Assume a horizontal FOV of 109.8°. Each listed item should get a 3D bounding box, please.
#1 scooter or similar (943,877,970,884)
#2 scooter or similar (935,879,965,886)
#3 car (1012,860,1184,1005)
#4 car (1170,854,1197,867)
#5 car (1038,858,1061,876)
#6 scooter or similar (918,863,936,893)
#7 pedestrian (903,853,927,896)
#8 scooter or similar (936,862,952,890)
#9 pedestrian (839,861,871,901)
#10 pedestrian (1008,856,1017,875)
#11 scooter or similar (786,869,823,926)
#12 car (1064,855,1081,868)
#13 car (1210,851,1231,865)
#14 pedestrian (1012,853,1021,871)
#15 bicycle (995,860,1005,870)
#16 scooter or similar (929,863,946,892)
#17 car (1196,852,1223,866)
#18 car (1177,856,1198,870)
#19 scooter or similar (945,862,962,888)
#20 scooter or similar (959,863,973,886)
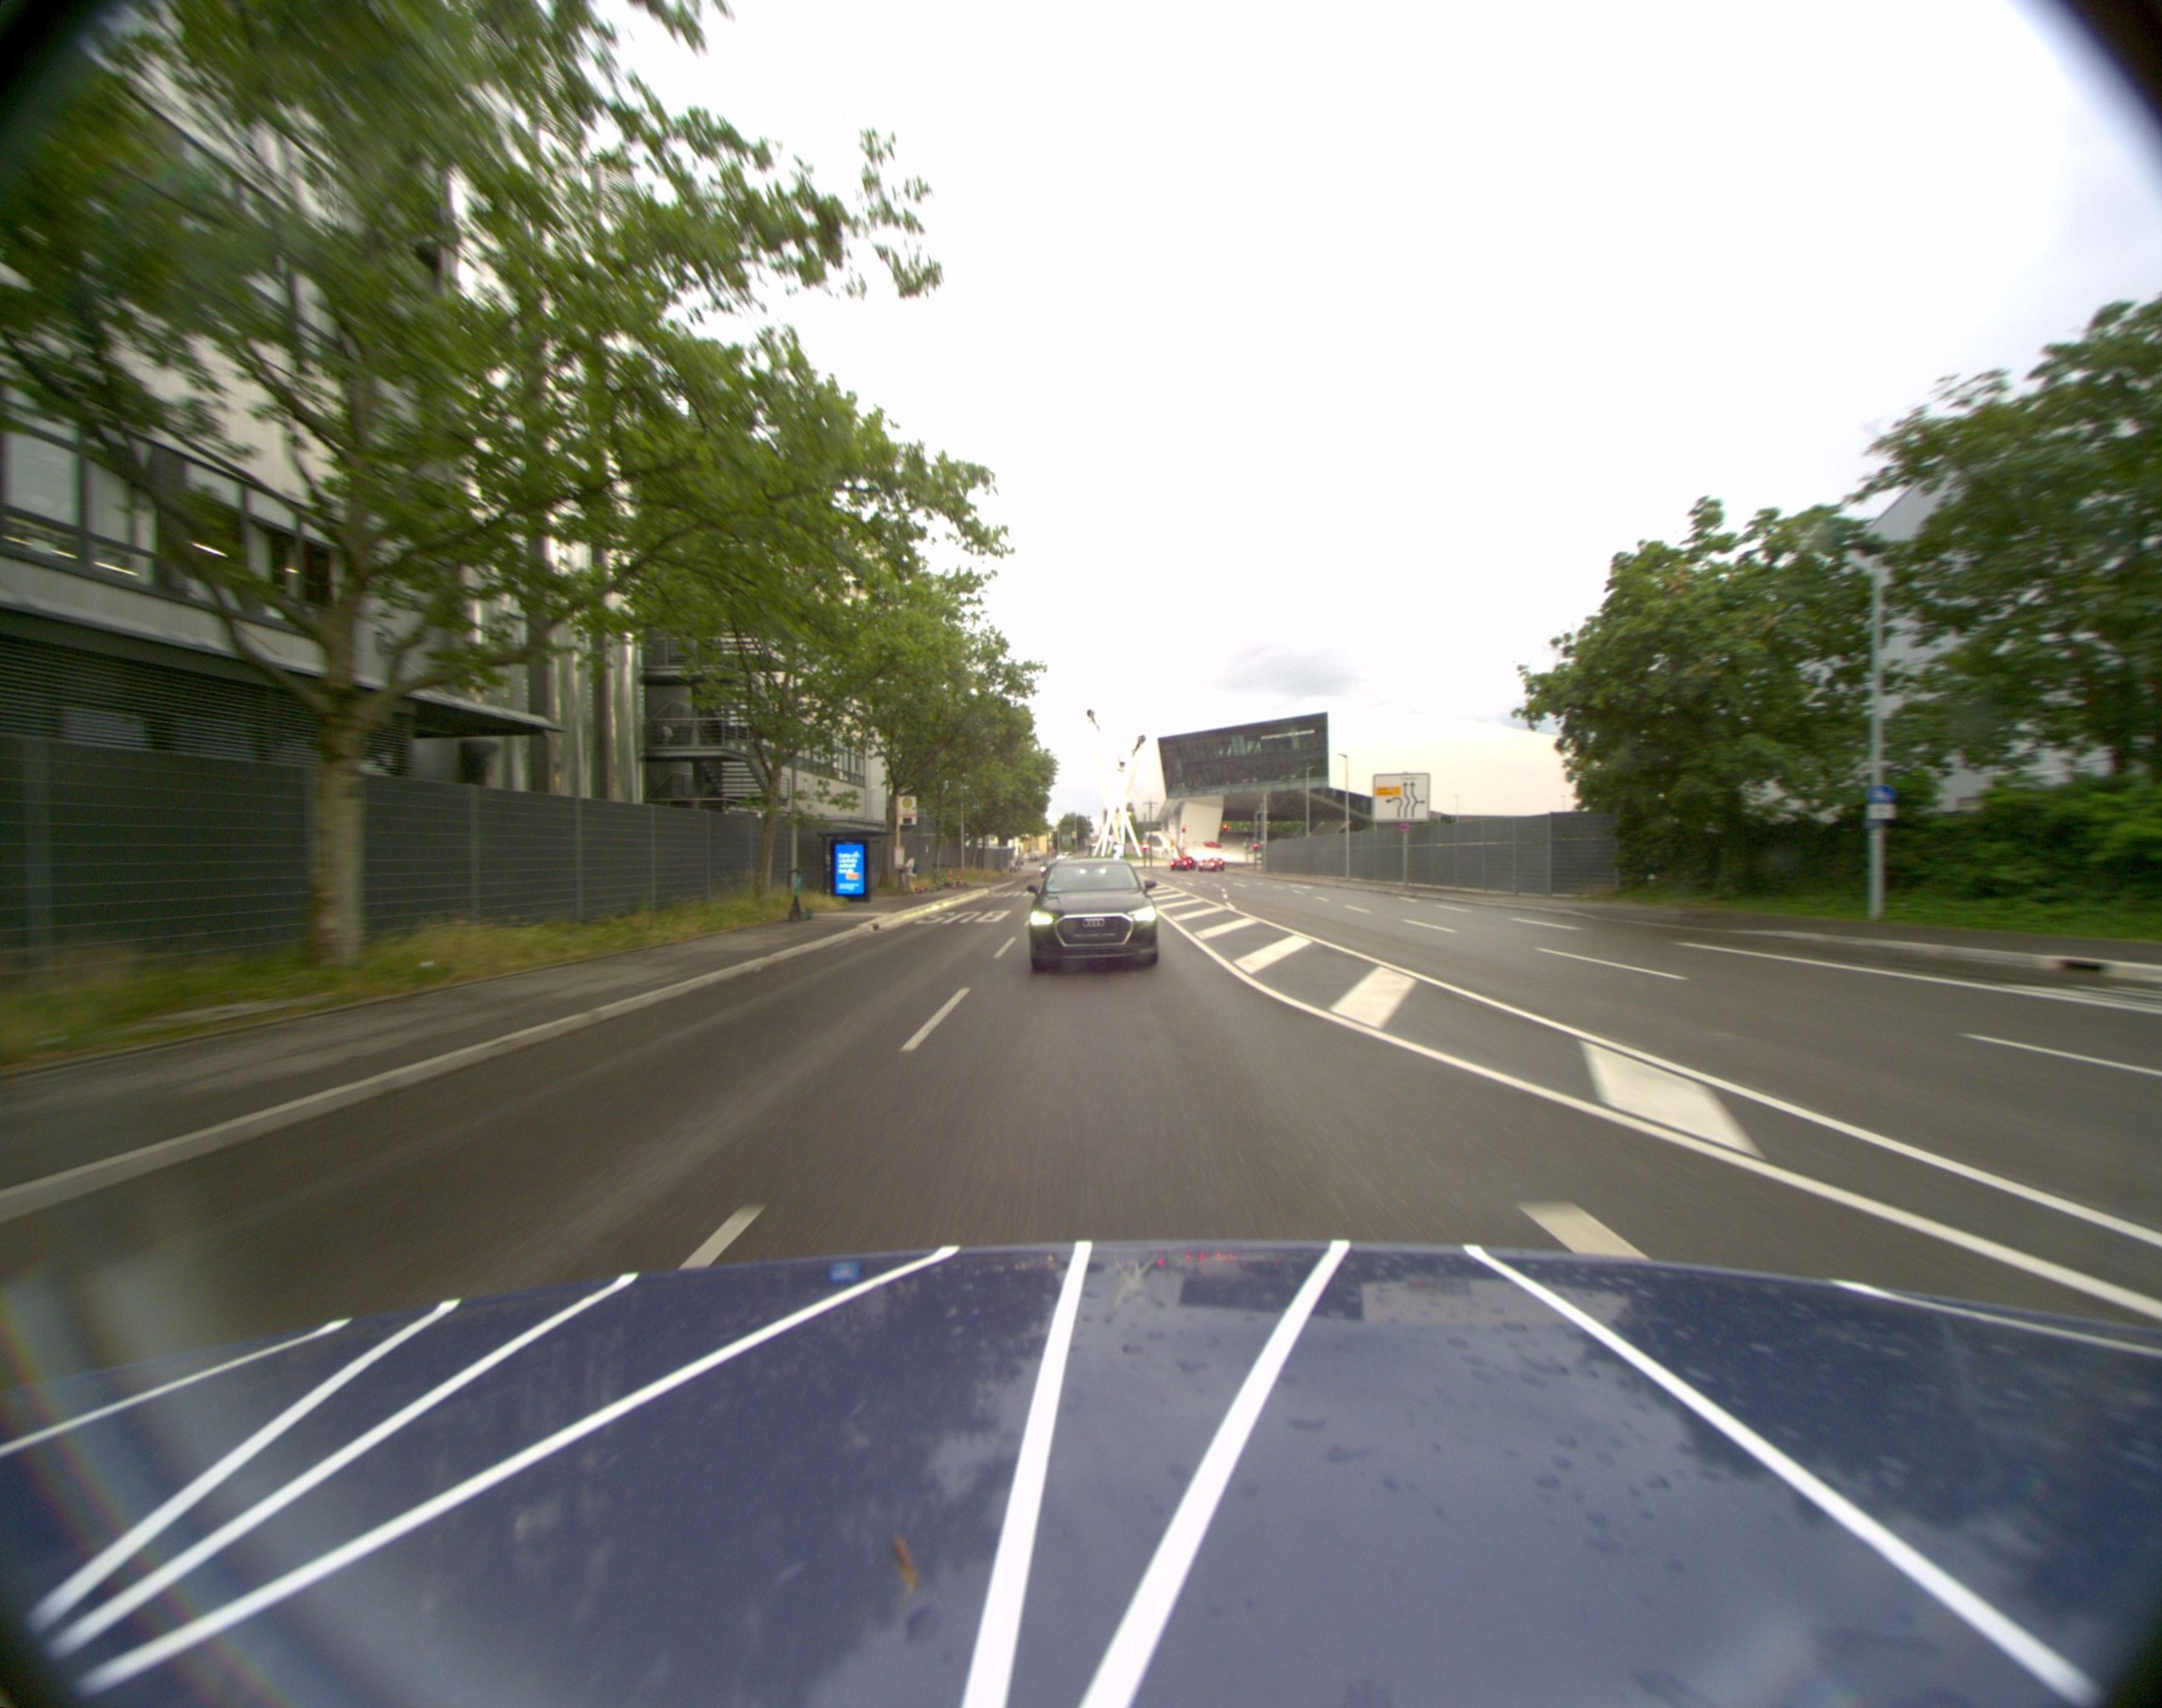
[{"bbox_3d":[-7.195,1.521,43.857,1.184,0.309,1.200,-1,0,-27],"label":"scooter or similar"},{"bbox_3d":[-7.123,1.551,41.256,1.098,0.343,1.260,0,0,24],"label":"scooter or similar"},{"bbox_3d":[0.179,0.925,11.447,1.951,1.609,5.276,-2,0,-1],"label":"car"},{"bbox_3d":[11.544,0.695,85.294,2.255,1.469,3.884,0,0,18],"label":"car"},{"bbox_3d":[-2.638,1.056,64.470,1.881,1.485,4.075,0,0,-2],"label":"car"},{"bbox_3d":[-6.740,1.035,33.271,0.437,1.288,1.301,0,0,4],"label":"scooter or similar"},{"bbox_3d":[-6.748,0.820,30.970,0.778,1.700,0.729,-1,1,0],"label":"pedestrian"},{"bbox_3d":[-6.639,1.064,36.849,0.437,1.288,1.301,0,0,4],"label":"scooter or similar"},{"bbox_3d":[-7.987,0.951,26.884,0.932,1.408,0.698,0,1,0],"label":"pedestrian"},{"bbox_3d":[-5.924,0.968,65.759,0.723,1.610,0.833,2,1,0],"label":"pedestrian"},{"bbox_3d":[-6.712,1.036,18.491,0.329,1.301,1.246,0,0,5],"label":"scooter or similar"},{"bbox_3d":[-0.973,0.820,86.257,1.842,1.444,4.786,-2,0,-1],"label":"car"},{"bbox_3d":[16.614,0.465,90.391,1.861,1.641,3.793,0,0,20],"label":"car"},{"bbox_3d":[-5.888,0.718,69.126,0.723,1.657,0.833,2,1,0],"label":"pedestrian"},{"bbox_3d":[-7.596,1.034,71.240,0.727,0.870,1.905,-1,1,0],"label":"bicycle"},{"bbox_3d":[-6.549,1.060,34.687,0.437,1.288,1.301,0,0,4],"label":"scooter or similar"},{"bbox_3d":[14.106,0.582,83.411,2.267,1.469,4.053,0,0,18],"label":"car"},{"bbox_3d":[12.669,1.030,90.438,1.878,1.641,3.857,0,0,17],"label":"car"},{"bbox_3d":[-6.482,1.063,38.782,0.437,1.288,1.368,0,0,8],"label":"scooter or similar"},{"bbox_3d":[-6.451,1.136,42.694,0.437,1.277,1.301,0,0,8],"label":"scooter or similar"}]
